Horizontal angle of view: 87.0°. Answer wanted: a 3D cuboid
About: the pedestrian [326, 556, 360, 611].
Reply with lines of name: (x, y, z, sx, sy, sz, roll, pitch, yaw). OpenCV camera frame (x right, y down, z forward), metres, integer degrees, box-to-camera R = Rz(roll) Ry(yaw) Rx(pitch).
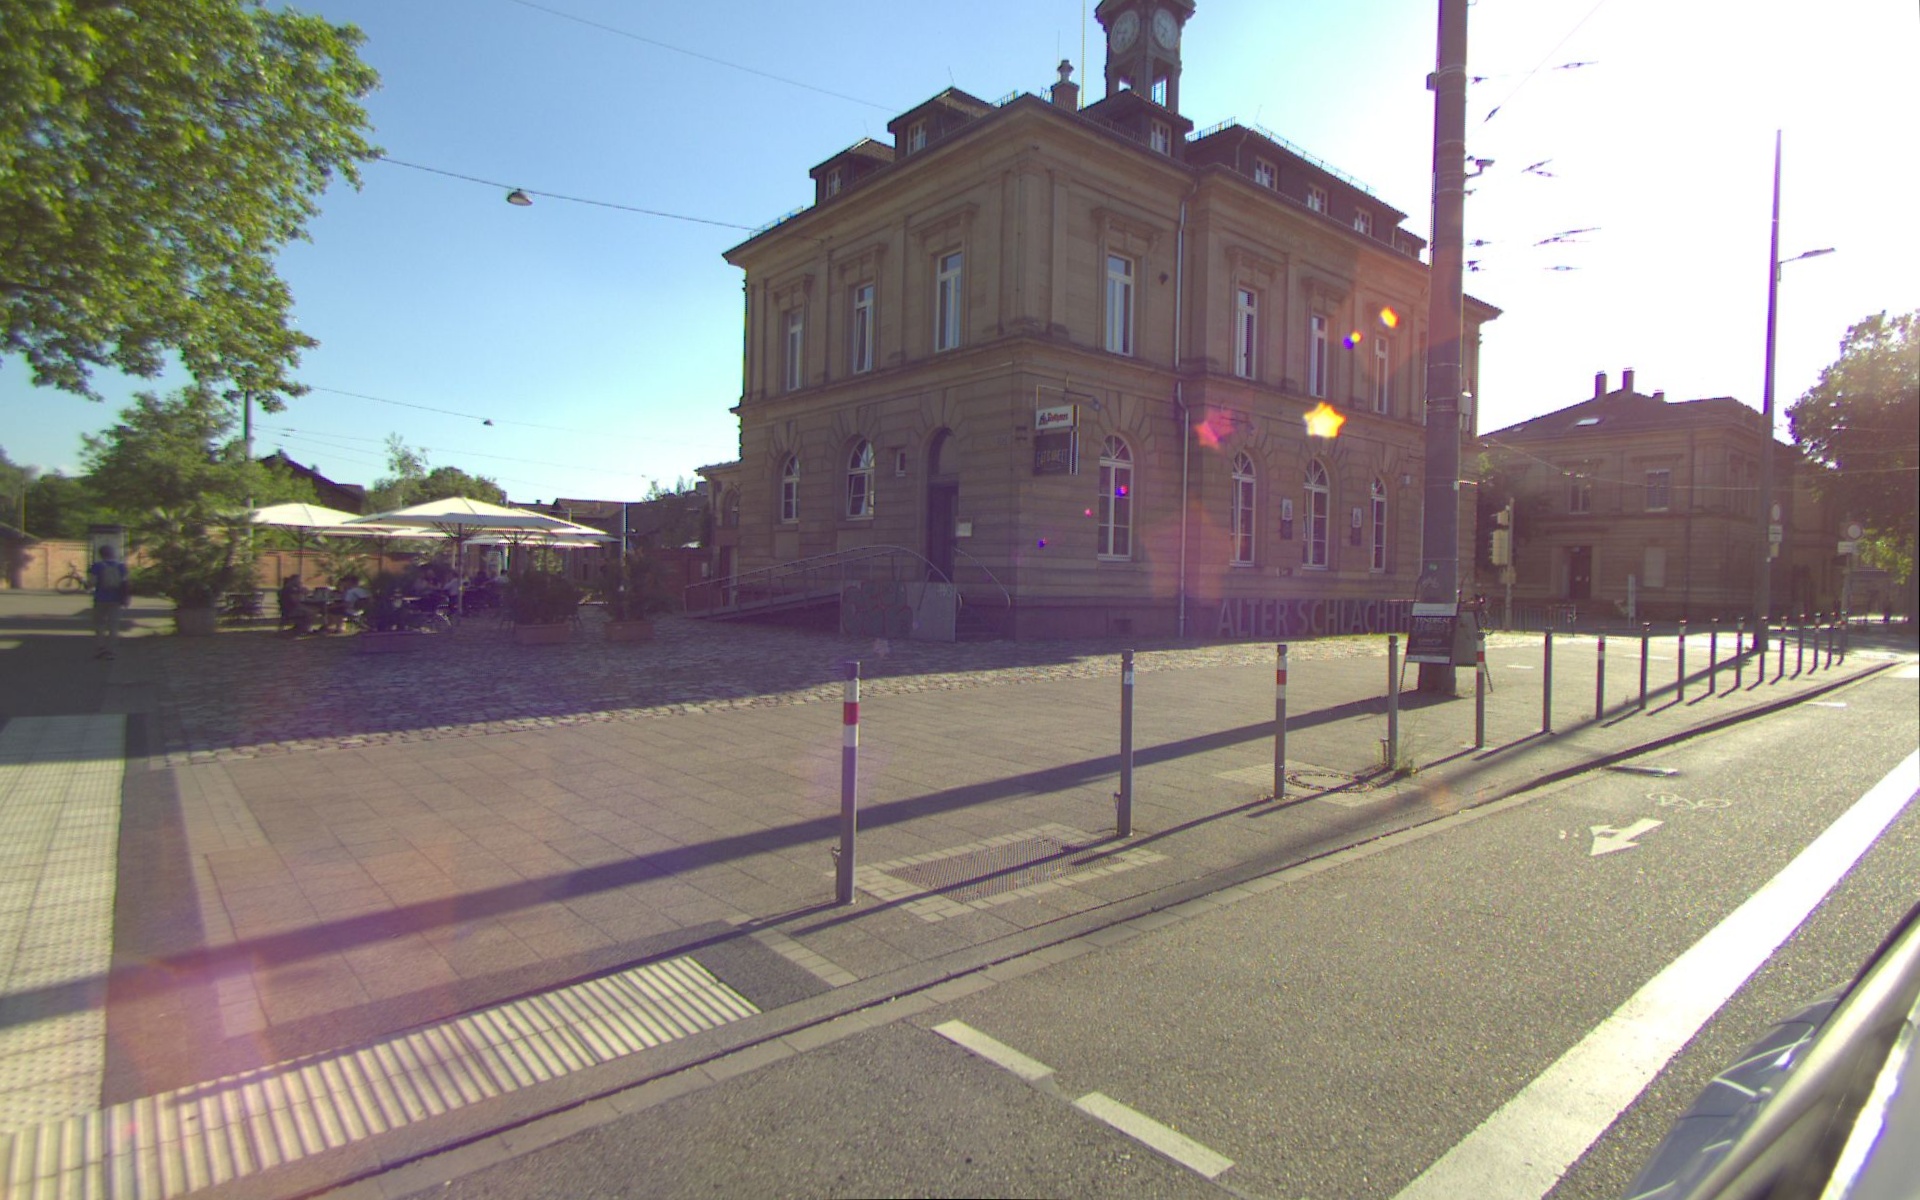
pedestrian: (-17.010, -0.462, 27.897, 0.653, 1.484, 0.838, 1, 3, -42)

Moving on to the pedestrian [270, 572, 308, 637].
pedestrian: (-14.712, 0.097, 22.197, 0.641, 1.393, 0.675, 1, 1, -31)

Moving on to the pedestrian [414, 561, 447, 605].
pedestrian: (-18.098, -0.583, 34.569, 0.825, 1.484, 0.663, 0, 3, -44)

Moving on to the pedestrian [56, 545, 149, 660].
pedestrian: (-14.261, 0.025, 16.834, 0.994, 1.810, 1.023, 4, 3, 39)

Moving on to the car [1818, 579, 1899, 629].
car: (38.653, 0.144, 43.498, 3.925, 2.072, 1.834, 0, 1, -37)

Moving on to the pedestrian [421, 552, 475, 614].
pedestrian: (-15.253, -0.513, 30.156, 0.984, 1.766, 1.033, 3, 2, 13)

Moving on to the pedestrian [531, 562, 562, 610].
pedestrian: (-13.141, -0.450, 32.146, 0.653, 1.484, 0.838, 0, 3, -42)

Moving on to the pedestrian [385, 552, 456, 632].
pedestrian: (-12.272, -0.203, 23.049, 1.021, 1.766, 0.996, 1, 2, 12)

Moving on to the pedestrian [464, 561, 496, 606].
pedestrian: (-16.460, -0.574, 34.713, 0.835, 1.484, 0.656, 4, 3, 37)

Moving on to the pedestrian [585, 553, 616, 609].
pedestrian: (-11.694, -0.623, 32.928, 0.653, 1.766, 0.838, 0, 3, -43)

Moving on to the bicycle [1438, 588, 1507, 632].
bicycle: (15.117, 0.285, 29.881, 0.678, 1.195, 1.649, 1, 2, -41)

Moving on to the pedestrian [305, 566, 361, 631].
pedestrian: (-14.024, -0.040, 22.661, 0.978, 1.396, 0.775, 1, 2, -27)

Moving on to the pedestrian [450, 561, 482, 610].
pedestrian: (-15.582, -0.462, 31.905, 0.823, 1.484, 0.665, 1, 2, -31)

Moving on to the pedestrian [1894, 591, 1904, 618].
pedestrian: (57.377, 0.280, 61.841, 0.383, 1.665, 0.364, 1, 1, -39)

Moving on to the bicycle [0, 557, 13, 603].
bicycle: (-27.777, -0.576, 28.645, 2.648, 1.294, 0.773, 1, 1, 32)

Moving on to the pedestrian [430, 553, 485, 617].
pedestrian: (-14.458, -0.435, 29.138, 0.984, 1.766, 1.033, 3, 2, 13)

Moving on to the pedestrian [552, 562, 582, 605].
pedestrian: (-14.156, -0.587, 36.418, 0.836, 1.484, 0.655, 4, 3, 40)

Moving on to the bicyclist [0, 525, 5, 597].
bicyclist: (-27.589, -1.096, 28.502, 0.982, 2.039, 0.772, 1, 0, 32)
